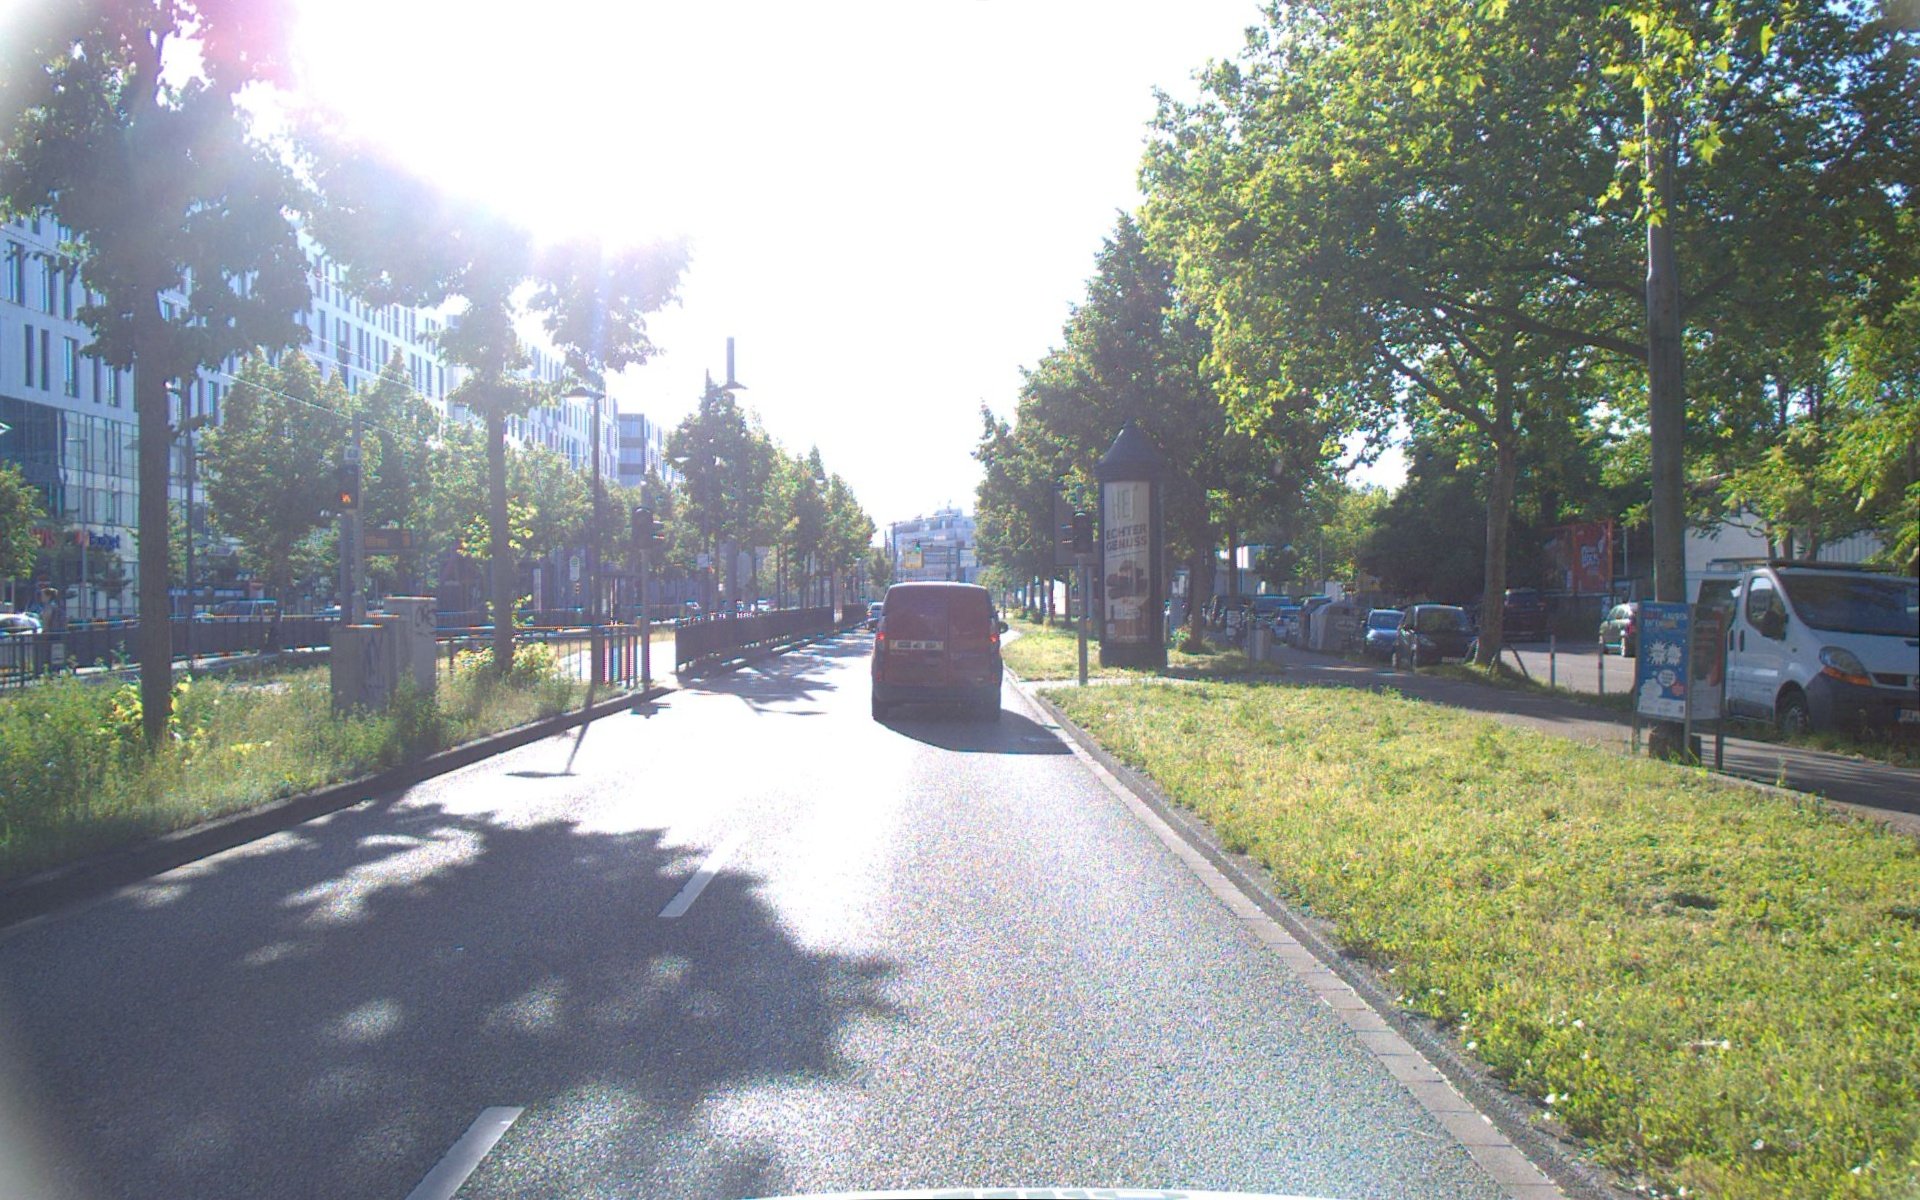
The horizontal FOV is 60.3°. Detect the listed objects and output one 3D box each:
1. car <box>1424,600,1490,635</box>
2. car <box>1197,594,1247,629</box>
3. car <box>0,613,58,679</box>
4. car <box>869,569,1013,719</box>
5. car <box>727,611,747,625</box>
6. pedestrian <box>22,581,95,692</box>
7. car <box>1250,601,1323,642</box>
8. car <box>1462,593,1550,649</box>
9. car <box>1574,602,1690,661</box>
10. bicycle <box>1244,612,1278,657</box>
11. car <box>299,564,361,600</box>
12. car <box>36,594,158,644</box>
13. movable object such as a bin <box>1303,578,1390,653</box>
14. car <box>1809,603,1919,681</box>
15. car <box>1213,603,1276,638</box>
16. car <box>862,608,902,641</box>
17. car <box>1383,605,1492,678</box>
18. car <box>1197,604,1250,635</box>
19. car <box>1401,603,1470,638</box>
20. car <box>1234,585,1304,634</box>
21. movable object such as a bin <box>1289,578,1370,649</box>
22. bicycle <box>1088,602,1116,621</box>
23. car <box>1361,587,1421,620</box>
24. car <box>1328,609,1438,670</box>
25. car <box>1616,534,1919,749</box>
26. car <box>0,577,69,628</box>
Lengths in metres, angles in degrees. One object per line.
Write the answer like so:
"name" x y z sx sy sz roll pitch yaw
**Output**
"car" 21.281 0.763 70.983 1.695 1.395 4.314 -3 -1 3
"car" 13.304 0.588 84.307 1.833 1.713 3.999 1 -1 -1
"car" -23.267 1.060 38.966 1.954 1.512 3.997 1 -1 -3
"car" -0.342 0.577 23.047 1.773 1.870 3.997 1 -1 -4
"car" -30.761 2.468 227.801 1.952 1.795 4.001 1 -1 3
"pedestrian" -15.446 0.617 28.346 0.804 1.868 0.726 1 -1 -3
"car" 12.018 0.800 61.110 1.833 1.413 3.999 1 -1 -1
"car" 20.990 0.799 63.728 1.833 2.037 4.690 -2 -1 1
"car" 20.499 0.946 50.644 1.952 1.669 4.000 1 -1 0
"bicycle" 7.348 0.823 40.399 0.482 1.065 1.904 1 -1 1
"car" -38.565 -1.082 101.338 1.953 2.049 4.563 1 -1 0
"car" -31.334 0.684 60.202 1.953 1.701 4.610 1 -1 0
"movable object such as a bin" 10.975 0.443 47.130 2.038 2.049 2.137 1 -1 3
"car" 19.899 0.837 34.855 1.952 1.509 4.326 -2 -1 3
"car" 12.367 0.892 72.107 1.833 1.459 4.901 1 -1 -1
"car" -4.096 1.297 87.515 1.953 1.646 3.999 1 -1 -1
"car" 10.549 0.902 36.718 1.627 1.527 2.990 1 -1 2
"car" 12.579 0.934 79.195 1.833 1.391 3.999 1 -1 -1
"car" 22.023 0.928 76.771 1.833 1.509 4.690 -2 -1 1
"car" 12.385 0.405 66.575 1.833 1.852 4.891 1 -1 -1
"movable object such as a bin" 11.113 0.407 49.896 2.038 2.049 2.137 1 -1 3
"bicycle" 9.923 0.816 115.457 1.878 1.290 0.479 0 0 0
"car" 21.931 0.214 84.394 1.832 1.574 4.690 -2 -1 1
"car" 10.751 0.983 42.321 1.957 1.409 4.747 1 -1 5
"car" 9.661 0.448 18.803 2.145 2.049 5.820 1 -1 1
"car" -39.275 0.094 68.739 1.953 2.049 4.563 2 -1 0
